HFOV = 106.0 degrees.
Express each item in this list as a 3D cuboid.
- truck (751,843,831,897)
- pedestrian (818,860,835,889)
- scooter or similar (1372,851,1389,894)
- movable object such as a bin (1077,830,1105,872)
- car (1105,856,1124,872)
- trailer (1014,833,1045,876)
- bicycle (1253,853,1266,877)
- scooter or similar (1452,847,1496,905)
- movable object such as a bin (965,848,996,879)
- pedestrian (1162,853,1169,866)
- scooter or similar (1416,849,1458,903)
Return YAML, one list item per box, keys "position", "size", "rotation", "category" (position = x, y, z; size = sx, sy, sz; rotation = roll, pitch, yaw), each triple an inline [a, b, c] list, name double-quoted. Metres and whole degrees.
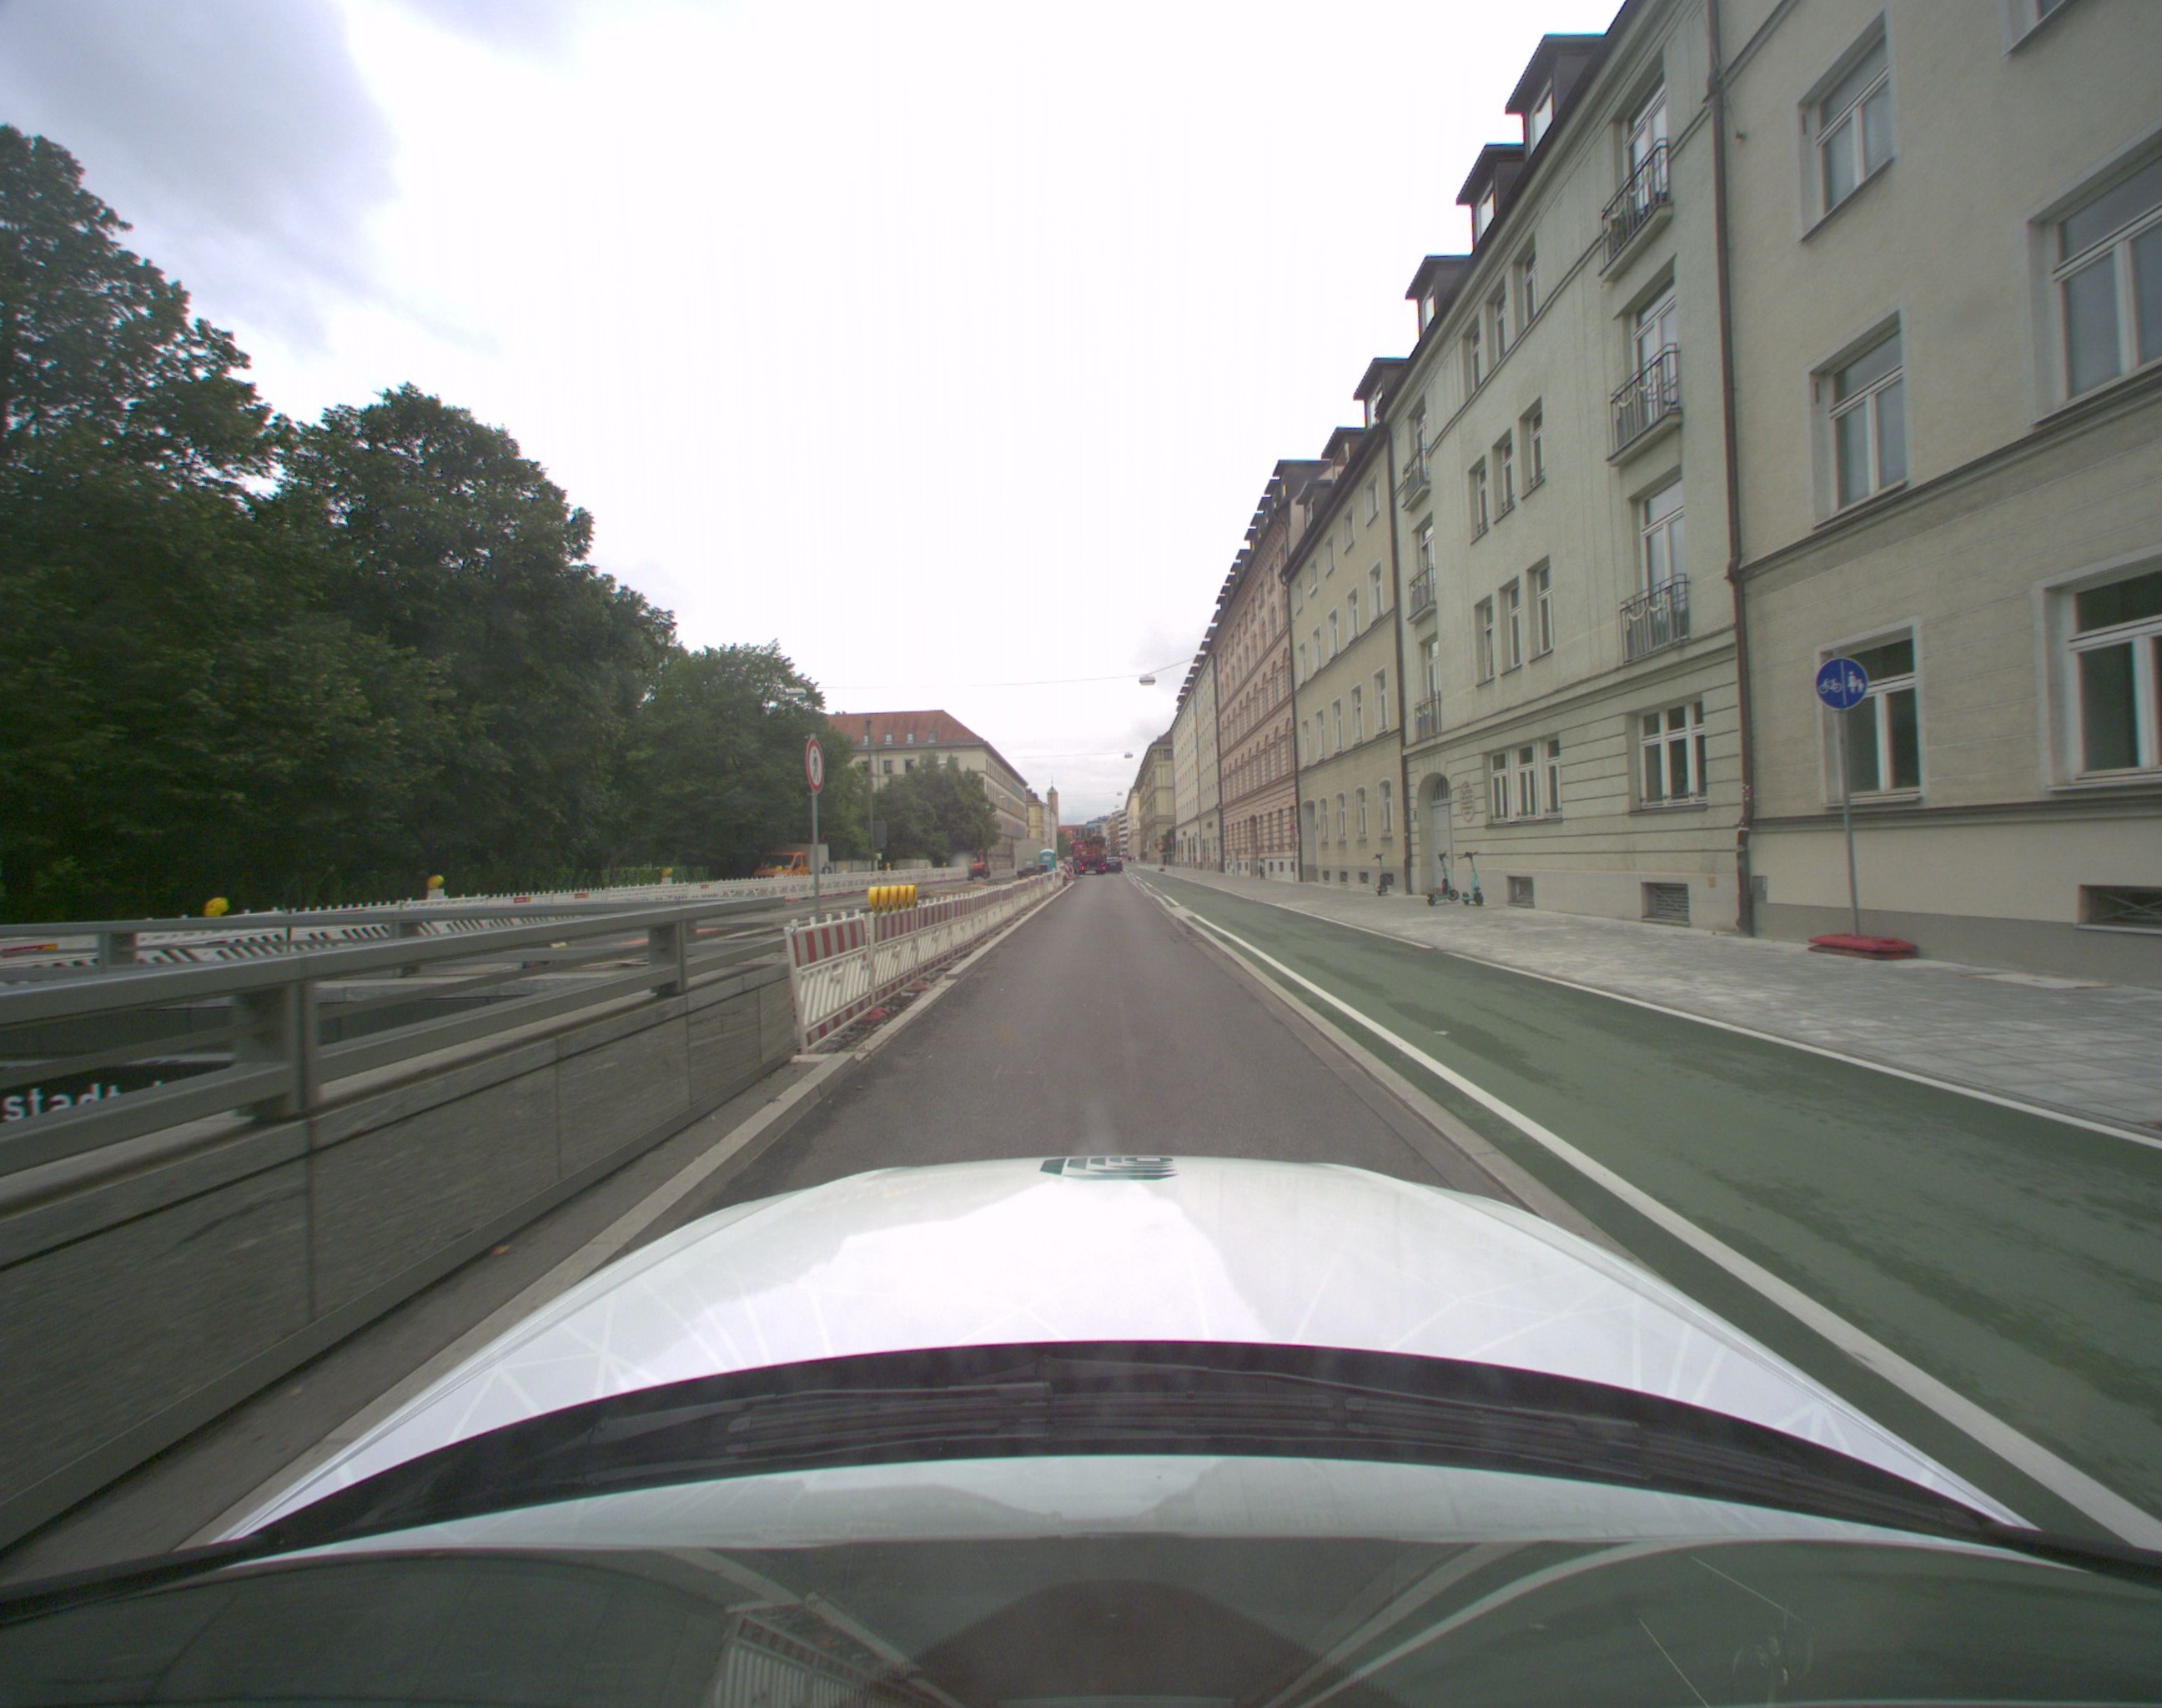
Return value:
- position: [-15.824, 0.848, 44.810]
  size: [1.986, 2.728, 5.873]
  rotation: [-2, 0, 2]
  category: "truck"
- position: [-14.279, 1.160, 45.723]
  size: [0.660, 1.603, 0.698]
  rotation: [-1, 0, 2]
  category: "pedestrian"
- position: [9.078, 0.547, 24.674]
  size: [0.244, 1.231, 1.126]
  rotation: [-4, -1, 27]
  category: "scooter or similar"
- position: [0.912, -0.278, 74.294]
  size: [2.415, 3.611, 5.851]
  rotation: [-2, -1, 0]
  category: "movable object such as a bin"
- position: [3.368, 1.035, 82.682]
  size: [1.796, 1.480, 4.687]
  rotation: [-2, 0, 0]
  category: "car"
- position: [-4.138, 0.066, 65.551]
  size: [2.222, 3.243, 7.510]
  rotation: [-2, 0, -3]
  category: "trailer"
- position: [9.427, 0.571, 43.037]
  size: [0.422, 1.174, 1.740]
  rotation: [-3, -1, 18]
  category: "bicycle"
- position: [8.983, 0.498, 18.658]
  size: [0.385, 1.272, 1.119]
  rotation: [-4, -1, 1]
  category: "scooter or similar"
- position: [-8.900, 0.804, 72.234]
  size: [1.916, 2.572, 4.496]
  rotation: [-1, 0, 3]
  category: "movable object such as a bin"
- position: [11.697, 0.733, 112.878]
  size: [0.787, 1.836, 0.777]
  rotation: [-2, 0, 2]
  category: "pedestrian"
- position: [8.623, 0.527, 19.714]
  size: [1.123, 1.231, 0.244]
  rotation: [-3, -1, -32]
  category: "scooter or similar"
